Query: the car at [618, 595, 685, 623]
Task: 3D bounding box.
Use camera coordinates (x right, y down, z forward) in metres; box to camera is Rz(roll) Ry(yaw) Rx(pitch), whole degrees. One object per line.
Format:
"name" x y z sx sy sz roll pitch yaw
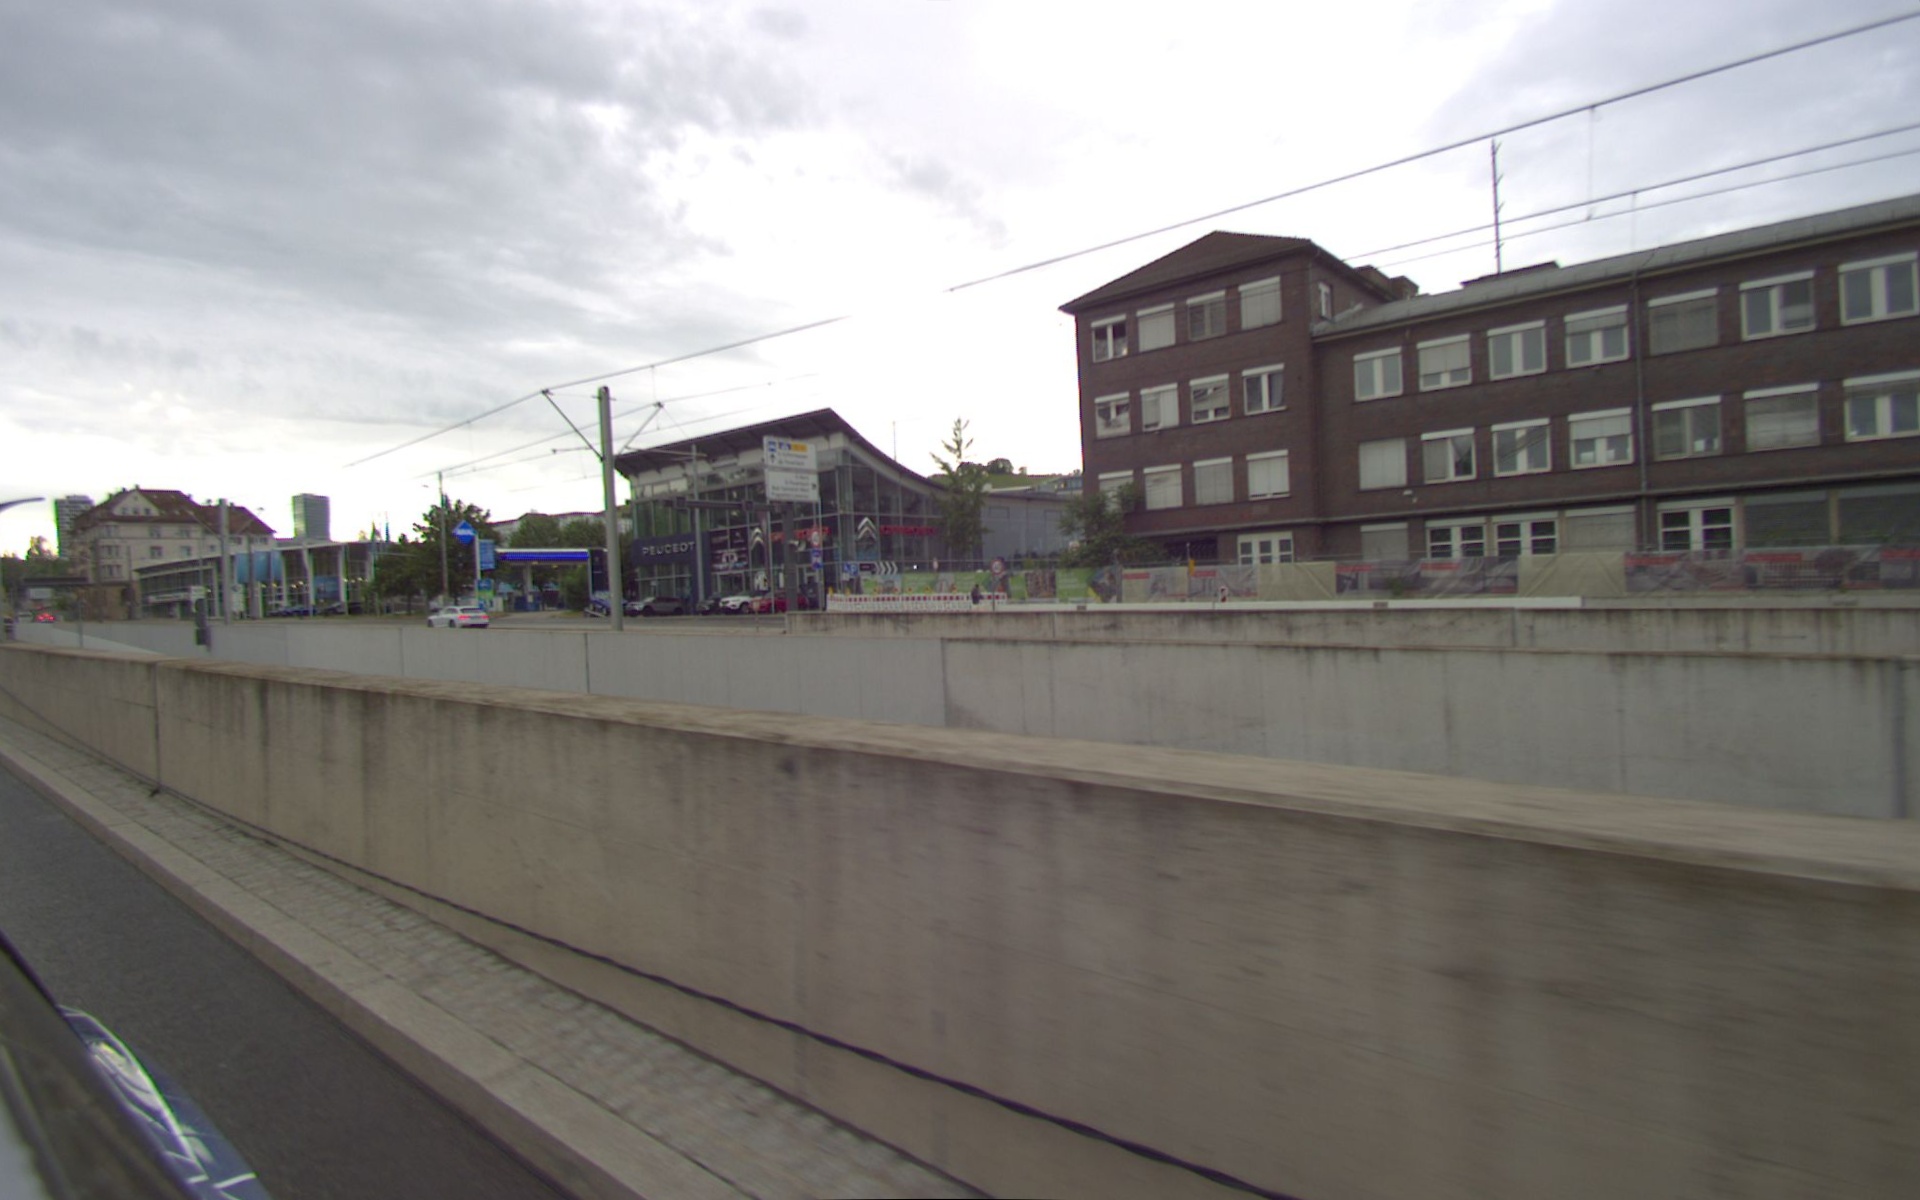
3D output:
"car" -21.355 0.628 70.190 1.999 1.785 3.946 -2 0 40

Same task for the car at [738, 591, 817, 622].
"car" -11.237 0.363 62.494 1.998 1.773 4.519 -2 0 40

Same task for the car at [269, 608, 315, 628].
"car" -75.468 2.012 114.300 1.999 2.029 3.945 -2 0 41

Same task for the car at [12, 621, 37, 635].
"car" -138.129 4.119 149.380 3.997 2.029 2.242 -2 0 40

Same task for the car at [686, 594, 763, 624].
"car" -15.174 0.579 65.422 1.998 1.773 4.519 -2 0 40

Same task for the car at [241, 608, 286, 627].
"car" -80.346 2.051 116.747 1.999 2.029 3.945 -2 0 41

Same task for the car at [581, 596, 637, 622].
"car" -25.197 0.640 72.657 3.995 1.785 1.974 -2 0 39

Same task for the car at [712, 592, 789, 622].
"car" -13.173 0.433 63.874 1.998 1.773 4.519 -2 0 40

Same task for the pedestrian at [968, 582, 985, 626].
"pedestrian" 0.775 0.187 47.207 0.720 2.029 0.580 -1 0 3

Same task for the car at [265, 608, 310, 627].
"car" -77.148 1.985 116.081 1.999 2.029 3.945 -2 0 41

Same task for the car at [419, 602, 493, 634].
"car" -29.329 1.081 58.837 4.574 1.729 2.093 -2 0 38
